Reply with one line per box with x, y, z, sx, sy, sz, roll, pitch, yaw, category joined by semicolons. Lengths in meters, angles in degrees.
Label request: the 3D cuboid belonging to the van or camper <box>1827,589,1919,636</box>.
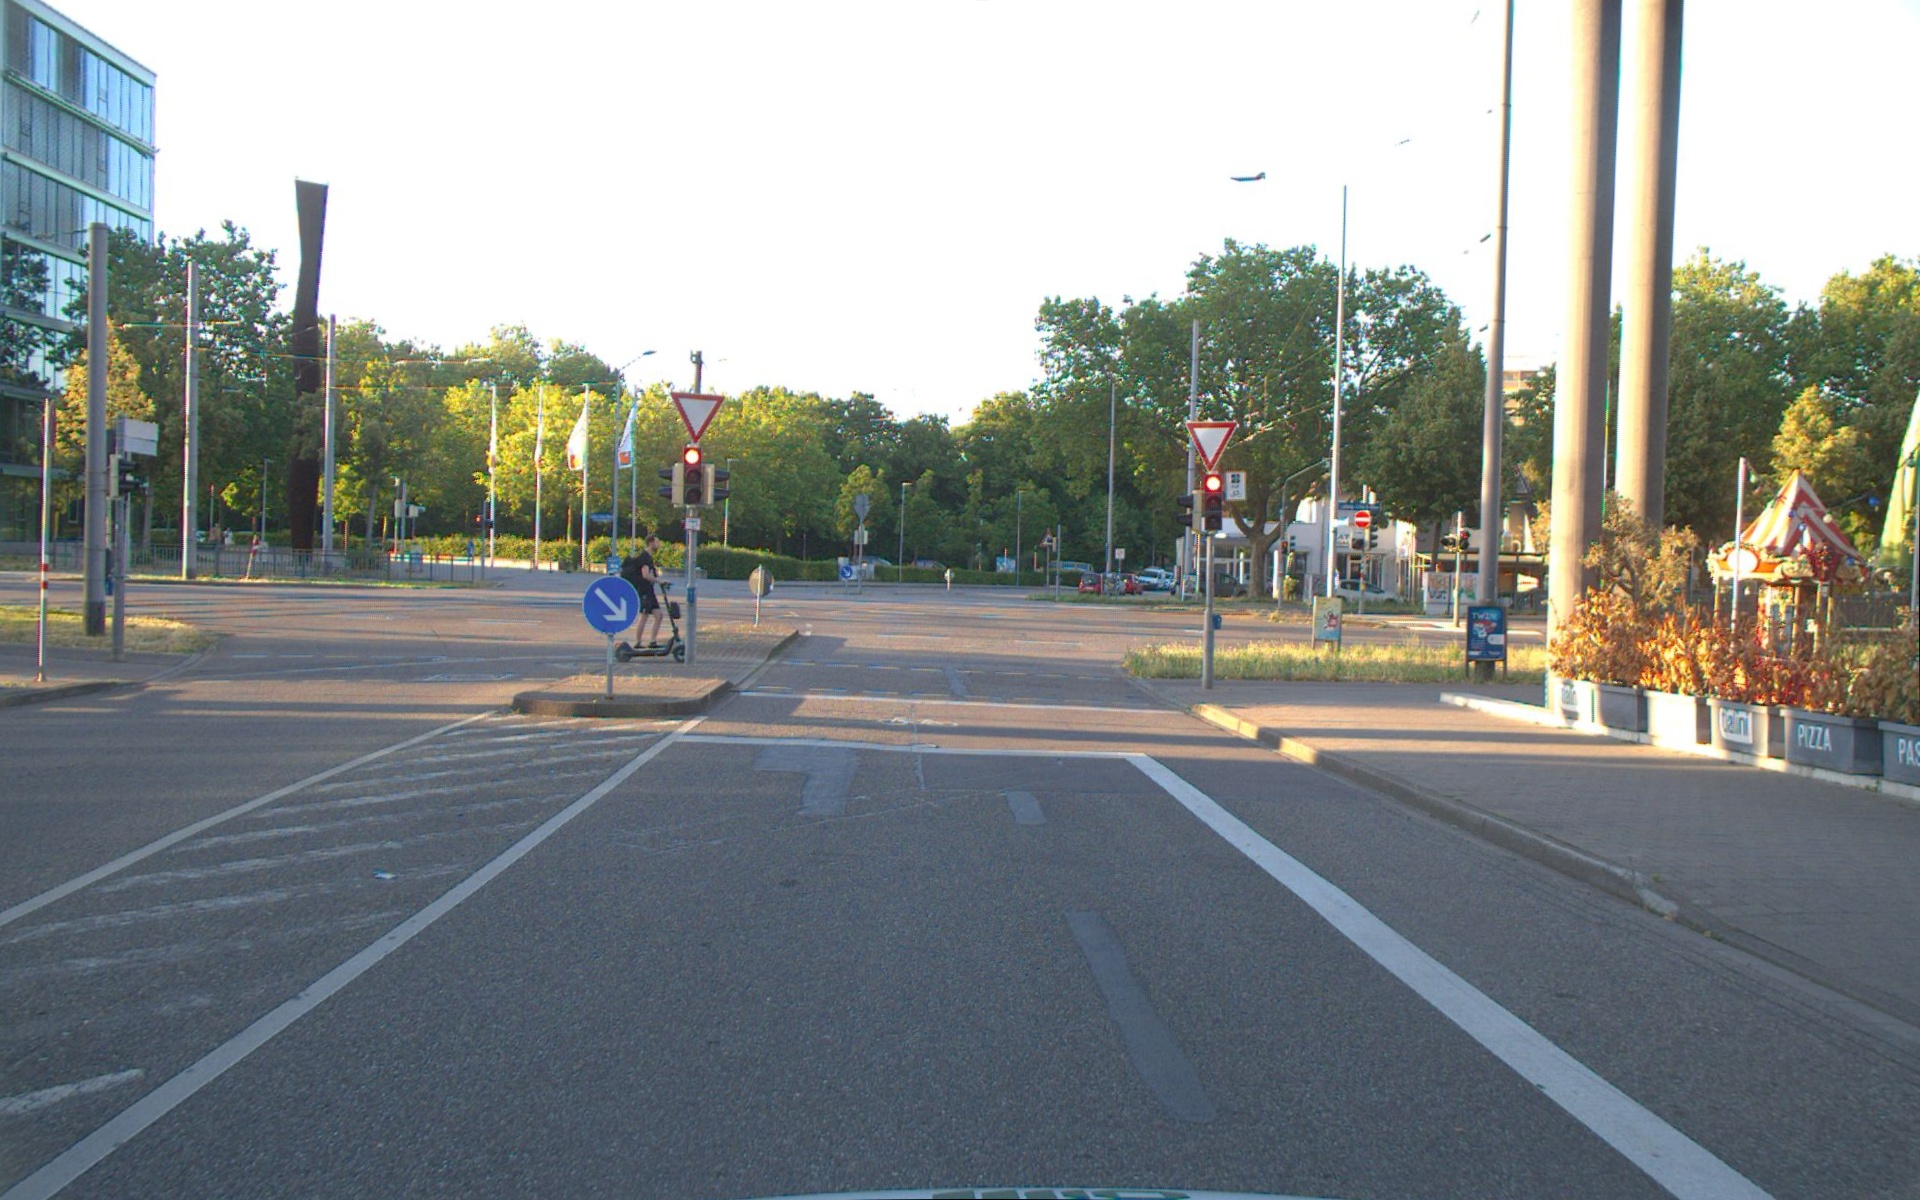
46.926;0.631;84.055;4.561;2.218;2.078;2;2;0;van or camper

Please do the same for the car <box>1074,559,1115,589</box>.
8.629;-1.683;106.080;1.467;1.791;3.401;3;3;25;car

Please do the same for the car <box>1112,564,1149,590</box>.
11.703;-1.586;113.606;1.467;1.634;3.401;3;3;25;car

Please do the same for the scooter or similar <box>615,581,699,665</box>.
-4.604;0.347;25.146;1.190;1.221;0.503;1;2;-5;scooter or similar

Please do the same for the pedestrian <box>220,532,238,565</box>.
-45.459;-3.217;102.867;0.681;2.048;0.699;2;2;18;pedestrian

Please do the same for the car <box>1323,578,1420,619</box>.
20.625;-0.098;83.003;4.375;1.848;1.946;2;2;0;car

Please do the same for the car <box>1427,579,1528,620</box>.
25.790;-0.043;82.527;4.375;1.848;1.946;2;2;0;car

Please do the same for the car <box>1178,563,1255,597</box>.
15.421;-1.241;99.556;4.373;1.848;1.947;2;2;4;car

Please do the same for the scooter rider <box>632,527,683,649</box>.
-4.592;-0.192;25.123;0.692;1.813;0.442;1;2;-5;scooter rider

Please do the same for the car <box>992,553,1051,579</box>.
4.962;-2.752;132.976;4.585;1.901;2.015;2;2;5;car

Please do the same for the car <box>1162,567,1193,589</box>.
16.477;-1.676;125.308;1.467;1.503;3.082;3;3;25;car

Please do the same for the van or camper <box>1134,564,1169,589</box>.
16.365;-2.059;141.310;1.594;2.016;3.801;3;3;28;van or camper

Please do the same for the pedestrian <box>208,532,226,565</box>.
-45.786;-3.183;101.925;0.681;2.048;0.699;2;2;18;pedestrian

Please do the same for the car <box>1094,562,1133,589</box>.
10.197;-1.635;109.851;1.467;1.634;3.401;3;3;25;car
